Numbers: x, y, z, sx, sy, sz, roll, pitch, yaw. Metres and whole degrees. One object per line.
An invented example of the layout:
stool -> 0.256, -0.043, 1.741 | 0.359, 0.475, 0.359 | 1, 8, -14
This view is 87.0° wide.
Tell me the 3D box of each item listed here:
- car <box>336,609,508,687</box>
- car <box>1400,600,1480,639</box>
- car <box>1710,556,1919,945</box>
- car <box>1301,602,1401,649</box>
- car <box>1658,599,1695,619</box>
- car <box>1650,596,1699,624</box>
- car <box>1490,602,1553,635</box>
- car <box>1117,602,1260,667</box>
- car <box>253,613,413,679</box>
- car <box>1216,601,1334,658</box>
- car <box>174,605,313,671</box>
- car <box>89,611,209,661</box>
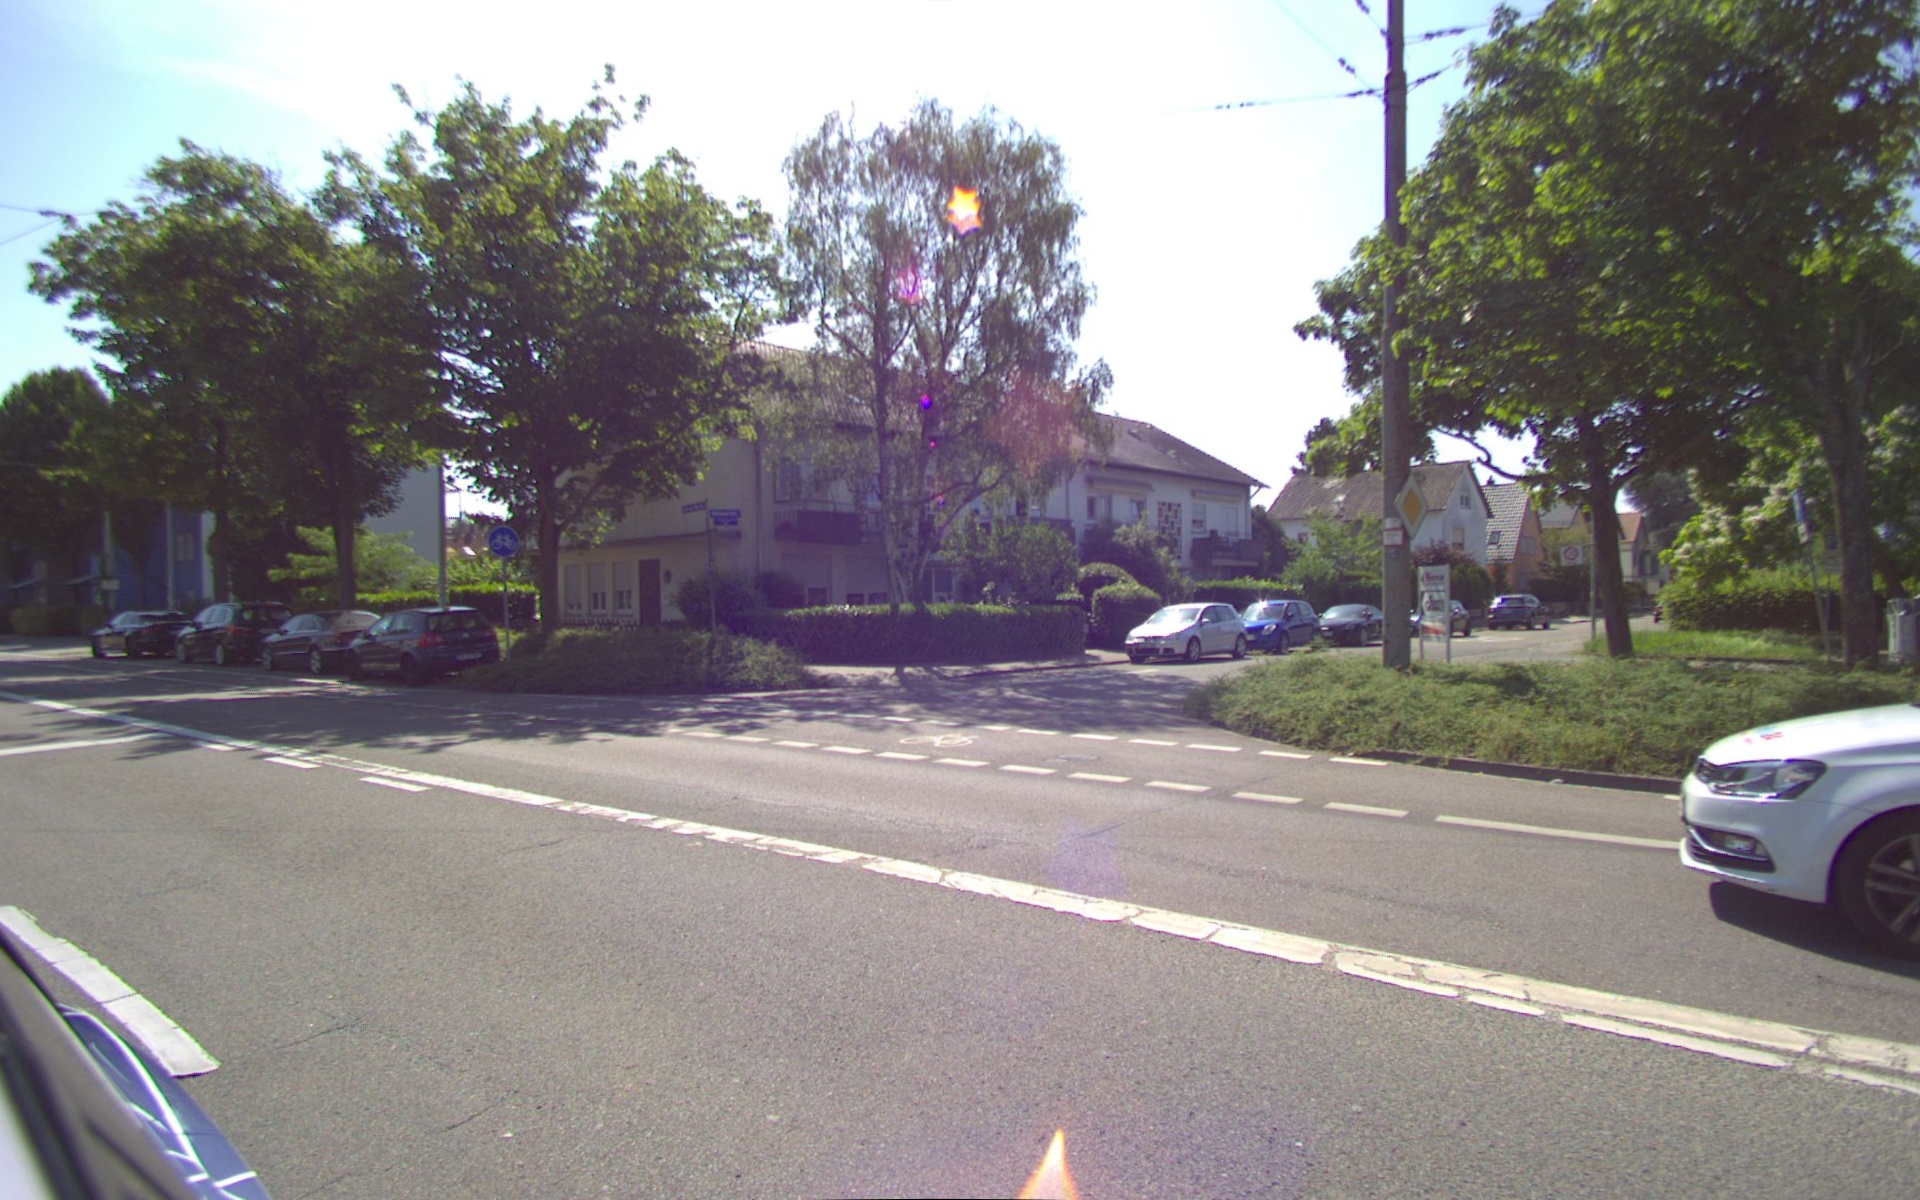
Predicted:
car -> -11.140, 0.931, 20.869 | 4.076, 1.461, 1.600 | -1, -1, 38
car -> 18.971, 0.734, 39.927 | 1.764, 1.467, 3.944 | -1, 0, 42
car -> 5.292, 0.574, 3.726 | 3.991, 1.476, 1.712 | -1, -2, 36
car -> 12.869, 0.797, 33.180 | 1.764, 1.467, 3.944 | -1, 0, 42
car -> 57.229, 0.718, 80.818 | 1.744, 1.541, 3.858 | -1, -1, 45
car -> 39.855, 0.542, 56.435 | 1.998, 1.497, 3.948 | -1, -1, 39
car -> 26.312, 0.843, 47.365 | 1.764, 1.467, 3.944 | -1, 0, 42
car -> 5.895, 0.824, 25.858 | 1.808, 1.536, 3.942 | -1, 0, 44
car -> -14.904, 1.018, 23.960 | 4.572, 1.405, 1.681 | -1, 0, 37
car -> 9.234, 0.814, 29.502 | 1.807, 1.536, 3.944 | -1, 0, 42
car -> -19.096, 0.972, 26.912 | 4.232, 1.625, 1.661 | -1, -1, 34
car -> -24.969, 1.071, 31.117 | 4.446, 1.447, 1.661 | -1, -1, 34
